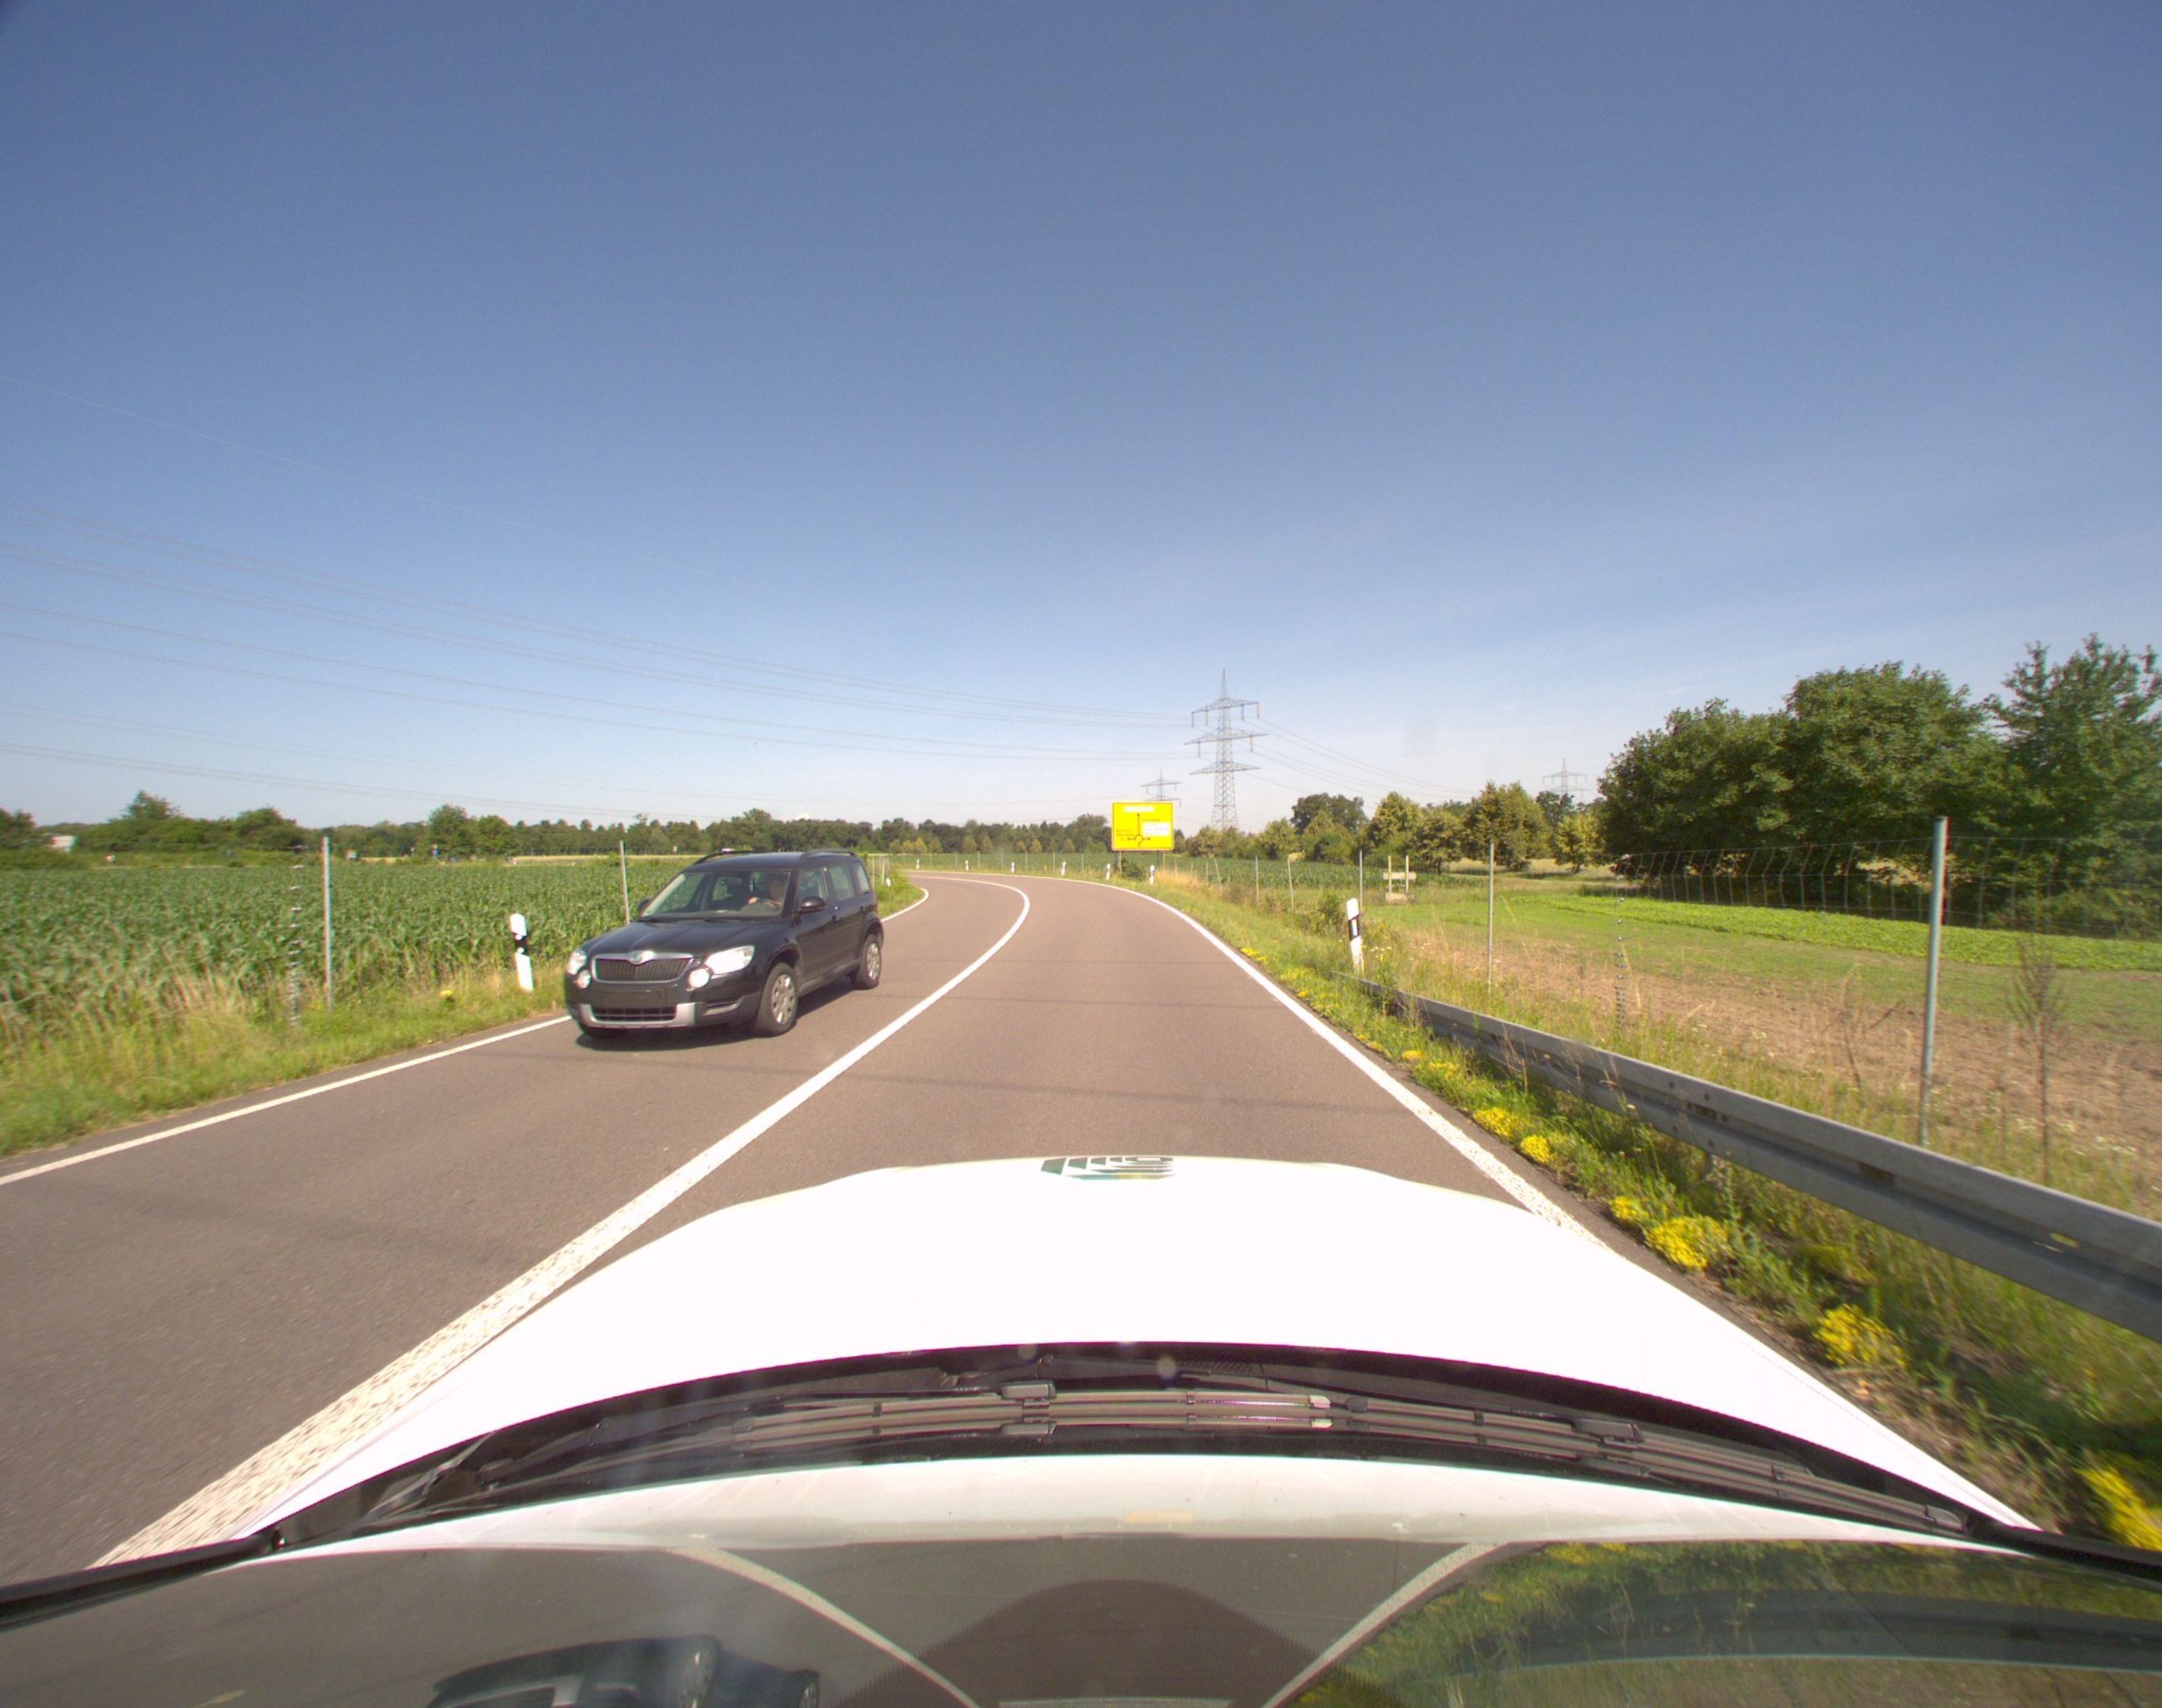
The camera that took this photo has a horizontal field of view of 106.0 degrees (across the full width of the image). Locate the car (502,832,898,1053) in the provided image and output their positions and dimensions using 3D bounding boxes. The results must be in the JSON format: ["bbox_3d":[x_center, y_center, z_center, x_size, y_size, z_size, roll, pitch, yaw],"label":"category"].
[{"bbox_3d":[-3.540,0.729,8.640,1.975,1.706,4.264,-2,-1,3],"label":"car"}]
